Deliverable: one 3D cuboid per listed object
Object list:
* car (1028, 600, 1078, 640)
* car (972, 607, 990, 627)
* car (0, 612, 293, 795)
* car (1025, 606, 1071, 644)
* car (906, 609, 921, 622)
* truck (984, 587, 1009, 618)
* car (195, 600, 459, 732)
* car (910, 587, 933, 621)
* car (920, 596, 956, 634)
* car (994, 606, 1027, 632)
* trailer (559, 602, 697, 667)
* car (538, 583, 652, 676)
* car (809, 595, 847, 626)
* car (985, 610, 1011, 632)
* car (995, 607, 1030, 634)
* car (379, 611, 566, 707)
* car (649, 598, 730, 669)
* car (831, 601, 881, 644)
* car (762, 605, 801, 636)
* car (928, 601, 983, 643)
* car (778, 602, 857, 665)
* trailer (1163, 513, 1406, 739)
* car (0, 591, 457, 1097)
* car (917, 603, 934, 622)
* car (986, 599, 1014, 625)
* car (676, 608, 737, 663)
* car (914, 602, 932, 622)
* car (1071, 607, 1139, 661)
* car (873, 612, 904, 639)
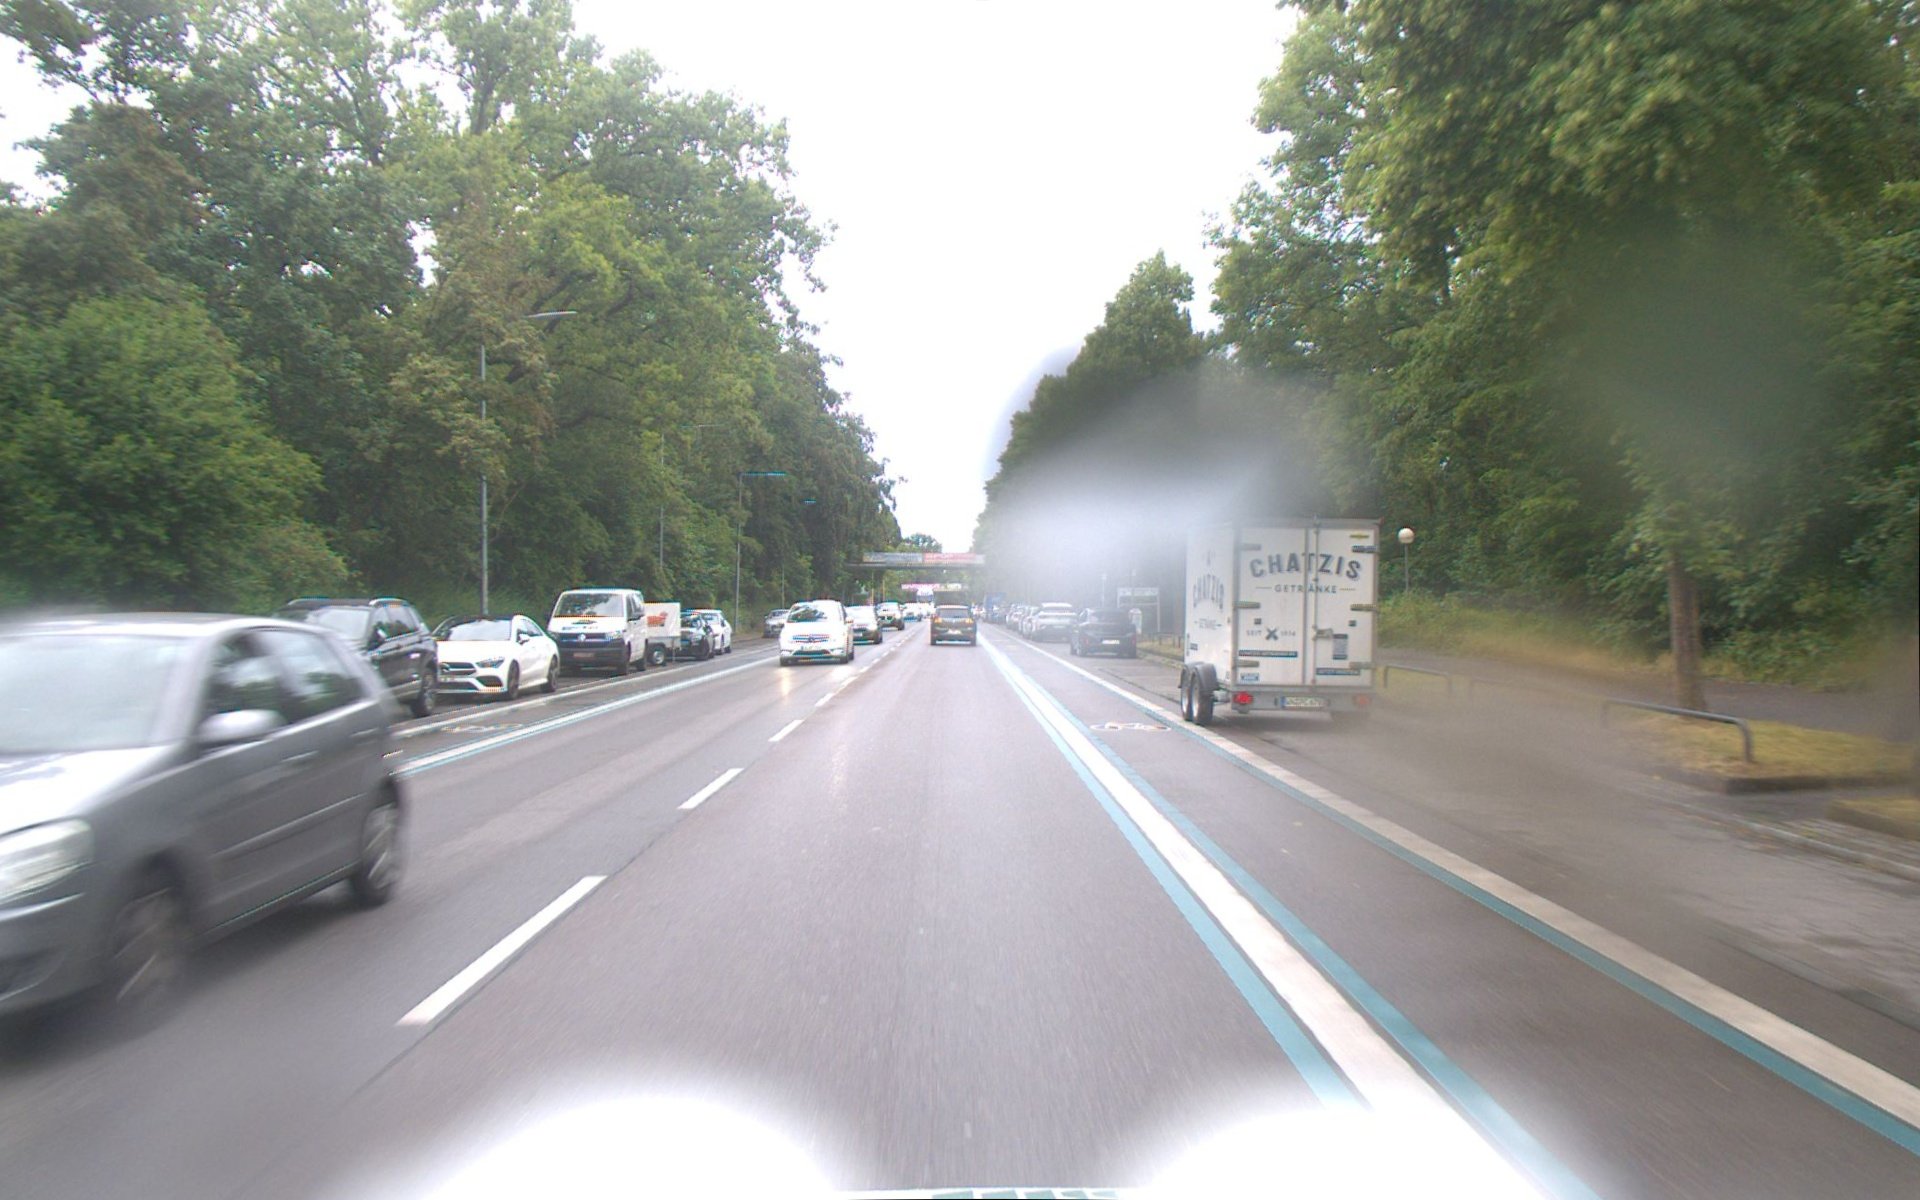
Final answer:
[{"bbox_3d":[3.884,0.819,69.757,1.858,1.634,4.000,0,0,0],"label":"car"},{"bbox_3d":[2.477,2.002,196.025,1.953,2.049,3.999,-1,-4,0],"label":"car"},{"bbox_3d":[-8.280,0.892,16.190,1.771,1.514,4.467,0,0,-2],"label":"car"},{"bbox_3d":[3.929,1.109,74.371,1.858,1.634,4.000,0,0,0],"label":"car"},{"bbox_3d":[-4.279,1.399,152.857,1.350,1.150,3.312,0,0,-1],"label":"car"},{"bbox_3d":[3.179,0.249,144.696,2.069,2.644,4.300,0,0,0],"label":"truck"},{"bbox_3d":[-8.349,0.812,22.285,1.841,1.589,4.468,0,0,0],"label":"car"},{"bbox_3d":[-5.727,0.604,248.358,3.285,5.038,9.008,0,0,-1],"label":"car"},{"bbox_3d":[-1.190,0.803,91.430,1.953,2.049,3.999,0,0,0],"label":"car"},{"bbox_3d":[3.205,1.176,105.073,1.953,1.590,4.000,0,0,0],"label":"car"},{"bbox_3d":[-8.814,0.875,44.166,1.595,1.657,3.665,0,0,30],"label":"trailer"},{"bbox_3d":[-8.555,0.661,39.181,1.901,2.049,4.737,0,0,-3],"label":"car"},{"bbox_3d":[-8.783,0.699,110.423,2.114,2.049,5.030,0,0,0],"label":"car"},{"bbox_3d":[3.121,1.733,136.489,1.953,1.803,3.999,-1,-1,0],"label":"car"},{"bbox_3d":[3.156,1.255,100.279,1.953,1.590,4.000,0,0,0],"label":"car"},{"bbox_3d":[-8.359,0.959,28.805,1.953,1.514,4.468,0,0,0],"label":"car"},{"bbox_3d":[-8.035,0.960,49.564,1.901,2.049,4.737,0,0,-3],"label":"car"},{"bbox_3d":[-4.008,0.858,64.368,1.671,1.599,4.000,0,0,0],"label":"car"},{"bbox_3d":[-9.063,1.026,84.164,1.638,1.540,3.629,1,0,-1],"label":"car"},{"bbox_3d":[-0.205,0.864,62.130,1.834,1.466,4.293,2,-2,-3],"label":"car"},{"bbox_3d":[-3.657,0.829,42.974,1.798,1.544,3.999,0,0,-2],"label":"car"},{"bbox_3d":[4.021,0.302,21.281,2.089,2.605,4.294,0,0,-3],"label":"trailer"},{"bbox_3d":[-3.559,0.742,6.953,1.664,1.511,4.034,-1,0,-1],"label":"car"},{"bbox_3d":[-4.243,1.562,205.451,1.953,2.049,3.998,-1,-4,0],"label":"car"},{"bbox_3d":[3.067,0.941,128.450,1.953,2.049,3.998,0,-1,-2],"label":"car"},{"bbox_3d":[-8.561,1.172,56.000,1.543,1.801,3.415,0,0,0],"label":"car"},{"bbox_3d":[-4.306,1.444,191.142,1.953,2.049,3.998,-1,-4,0],"label":"car"},{"bbox_3d":[4.342,0.983,50.052,1.687,1.552,4.000,0,0,0],"label":"car"},{"bbox_3d":[-4.324,1.534,100.432,1.671,1.599,4.000,0,0,0],"label":"car"}]
